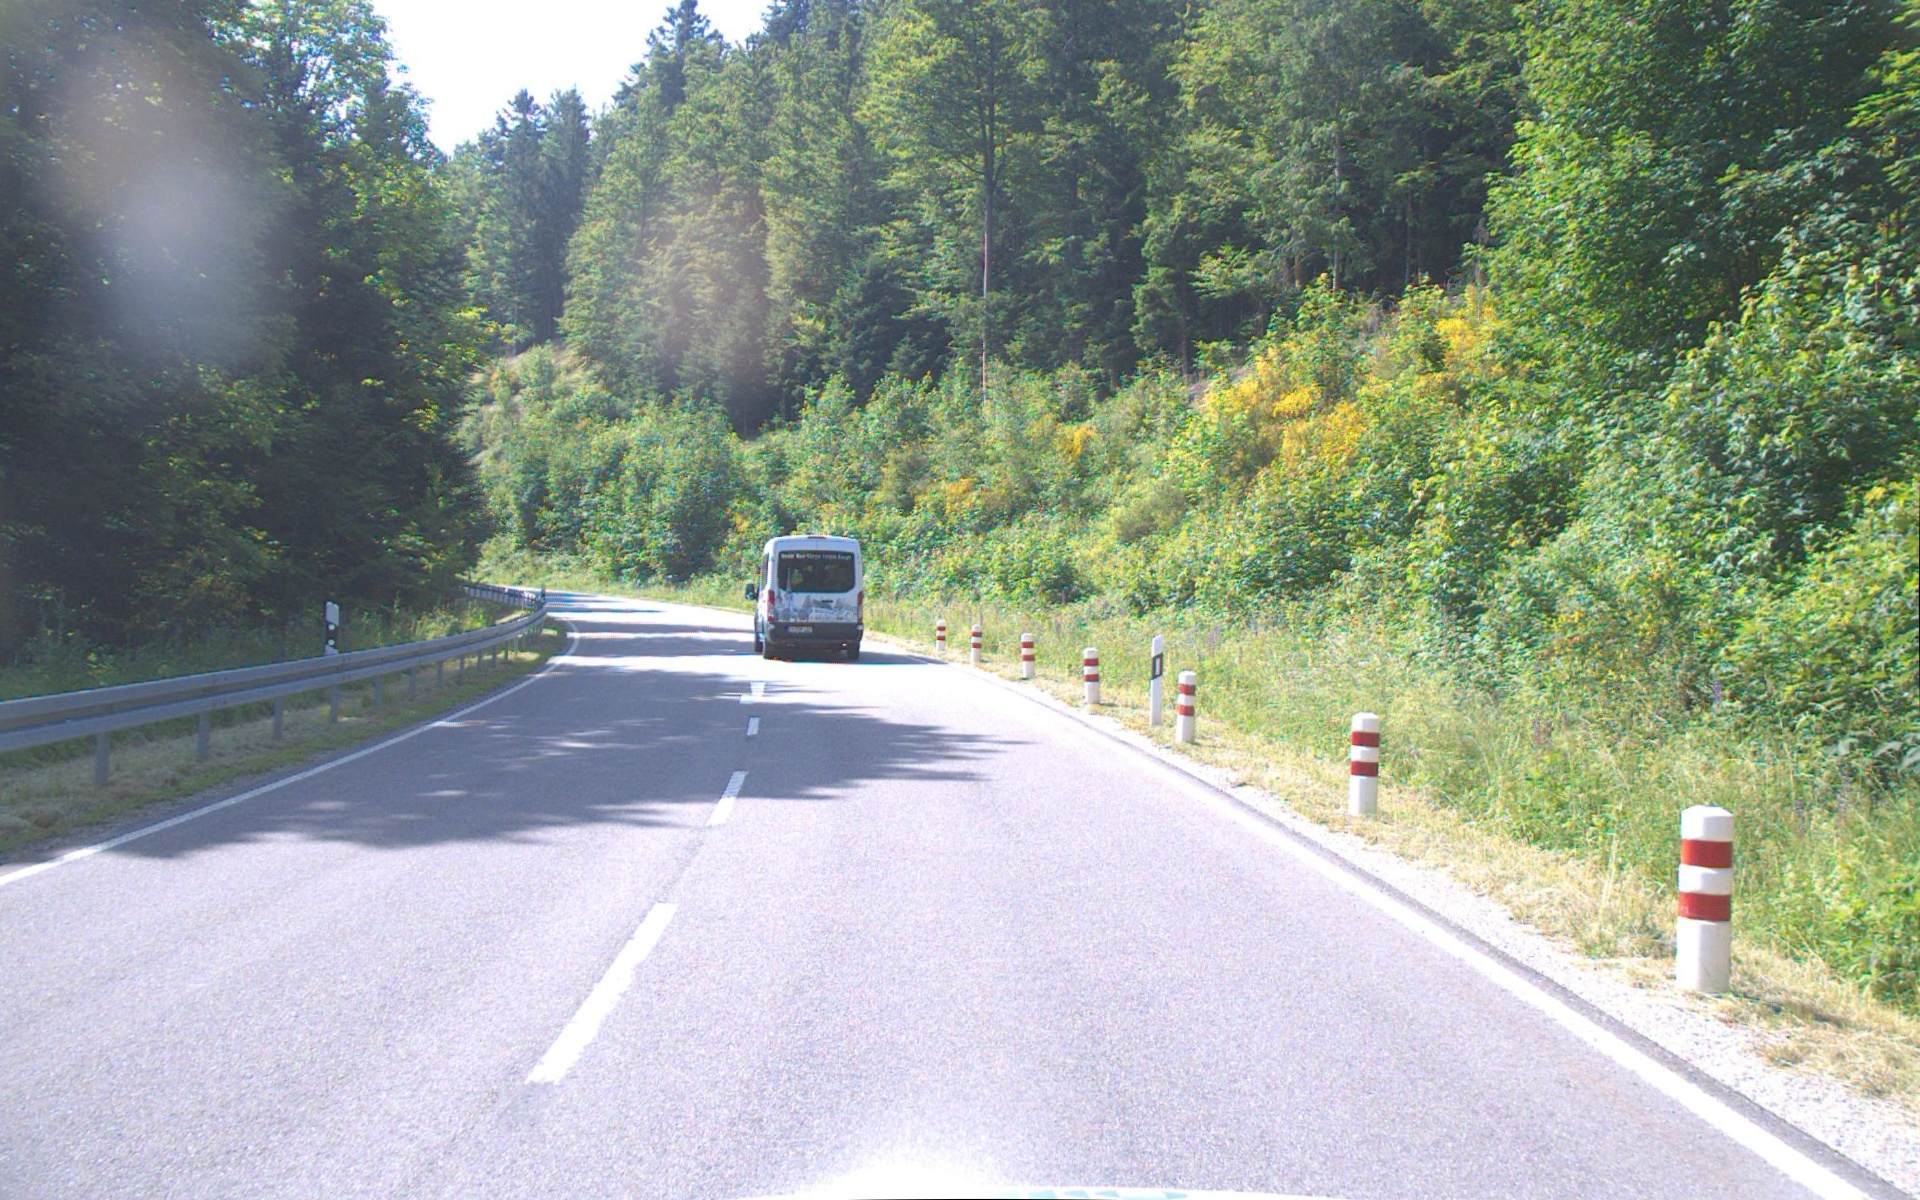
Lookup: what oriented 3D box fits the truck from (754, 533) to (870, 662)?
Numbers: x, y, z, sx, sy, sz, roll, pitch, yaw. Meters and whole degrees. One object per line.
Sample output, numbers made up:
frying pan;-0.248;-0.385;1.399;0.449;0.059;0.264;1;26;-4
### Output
truck;-3.253;-0.082;35.362;2.077;2.542;5.347;0;1;-10
